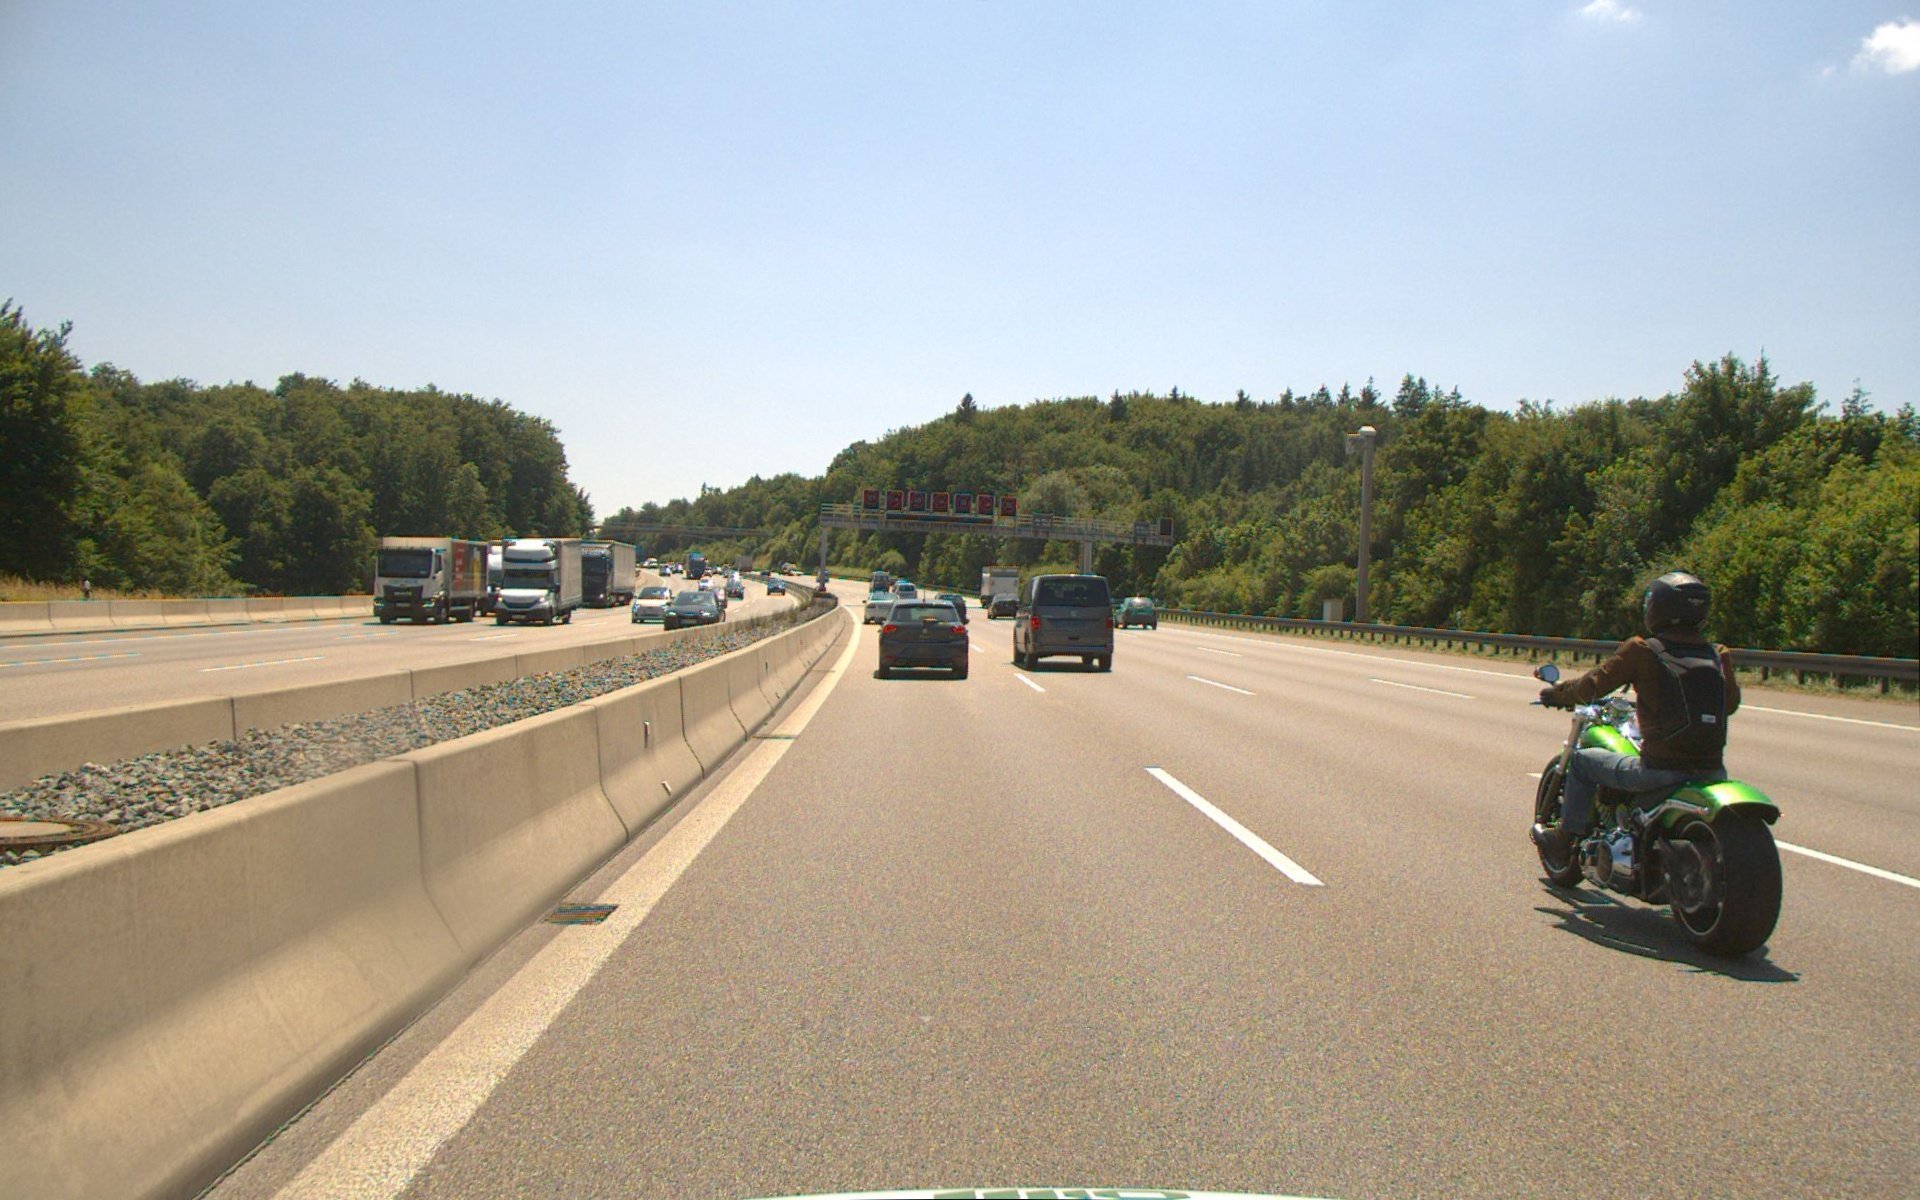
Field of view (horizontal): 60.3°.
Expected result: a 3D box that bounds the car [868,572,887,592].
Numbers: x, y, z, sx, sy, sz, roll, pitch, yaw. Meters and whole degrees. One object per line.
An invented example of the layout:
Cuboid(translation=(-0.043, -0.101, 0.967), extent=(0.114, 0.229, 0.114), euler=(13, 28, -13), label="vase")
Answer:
Cuboid(translation=(-10.166, -2.191, 204.403), extent=(2.219, 2.412, 4.700), euler=(1, 0, -2), label="car")

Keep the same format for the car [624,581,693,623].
Cuboid(translation=(-13.198, 0.097, 72.724), extent=(2.241, 1.758, 5.029), euler=(1, 0, -2), label="car")

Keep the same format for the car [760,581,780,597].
Cuboid(translation=(-20.308, -1.195, 177.145), extent=(1.954, 1.697, 4.430), euler=(1, 0, -5), label="car")

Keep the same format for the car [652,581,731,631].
Cuboid(translation=(-9.091, 0.185, 56.415), extent=(1.953, 1.618, 4.843), euler=(1, 0, -1), label="car")

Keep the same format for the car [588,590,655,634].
Cuboid(translation=(-14.051, 0.499, 68.827), extent=(1.953, 1.758, 4.000), euler=(1, 0, 0), label="car")

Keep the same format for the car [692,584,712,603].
Cuboid(translation=(-29.006, -0.702, 186.094), extent=(1.955, 2.049, 3.995), euler=(2, -1, -6), label="car")

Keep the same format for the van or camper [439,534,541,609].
Cuboid(translation=(-22.251, -1.261, 78.756), extent=(2.709, 3.180, 8.090), euler=(2, -1, -2), label="van or camper")

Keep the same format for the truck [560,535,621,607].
Cuboid(translation=(-23.206, -1.789, 104.271), extent=(2.820, 4.365, 6.447), euler=(1, 0, -5), label="truck")

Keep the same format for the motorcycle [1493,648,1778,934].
Cuboid(translation=(3.350, 0.871, 8.457), extent=(0.524, 1.155, 2.437), euler=(1, 0, 2), label="motorcycle")

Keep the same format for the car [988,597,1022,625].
Cuboid(translation=(2.544, 0.614, 94.551), extent=(1.632, 1.433, 4.902), euler=(1, 1, -2), label="car")

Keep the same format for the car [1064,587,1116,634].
Cuboid(translation=(4.976, 0.406, 63.668), extent=(1.811, 1.758, 4.001), euler=(1, 0, 2), label="car")

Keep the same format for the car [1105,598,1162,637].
Cuboid(translation=(8.052, 0.807, 77.084), extent=(1.954, 1.758, 3.996), euler=(1, -1, -4), label="car")

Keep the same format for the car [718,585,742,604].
Cuboid(translation=(-20.481, -0.445, 147.387), extent=(1.726, 1.547, 4.358), euler=(2, -1, -4), label="car")

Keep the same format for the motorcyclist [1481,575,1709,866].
Cuboid(translation=(3.343, 0.599, 8.804), extent=(0.835, 1.452, 1.023), euler=(1, 0, 2), label="motorcyclist")

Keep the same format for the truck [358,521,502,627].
Cuboid(translation=(-20.666, -0.861, 65.099), extent=(2.811, 3.762, 9.236), euler=(2, -1, -2), label="truck")

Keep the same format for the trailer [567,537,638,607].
Cuboid(translation=(-23.730, -1.766, 110.575), extent=(2.808, 4.337, 13.946), euler=(1, 0, -5), label="trailer")

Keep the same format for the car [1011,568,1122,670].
Cuboid(translation=(2.276, 0.386, 36.646), extent=(1.923, 2.069, 5.081), euler=(1, 0, -2), label="car")

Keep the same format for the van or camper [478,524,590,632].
Cuboid(translation=(-16.699, -0.743, 65.383), extent=(2.774, 3.906, 8.206), euler=(2, -1, -5), label="van or camper")

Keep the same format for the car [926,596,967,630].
Cuboid(translation=(-0.767, 0.717, 89.272), extent=(1.954, 1.758, 4.145), euler=(1, 0, -4), label="car")

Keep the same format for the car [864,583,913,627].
Cuboid(translation=(-3.312, 0.250, 77.486), extent=(1.970, 1.878, 4.000), euler=(1, -2, 2), label="car")

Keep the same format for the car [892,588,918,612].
Cuboid(translation=(-4.497, -0.030, 135.077), extent=(2.061, 1.774, 4.686), euler=(1, 1, -3), label="car")

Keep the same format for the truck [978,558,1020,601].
Cuboid(translation=(3.082, -1.681, 132.158), extent=(2.925, 3.222, 7.572), euler=(1, 1, -2), label="truck")

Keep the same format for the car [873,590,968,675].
Cuboid(translation=(-0.772, 0.573, 31.817), extent=(1.673, 1.458, 3.999), euler=(2, 1, -2), label="car")

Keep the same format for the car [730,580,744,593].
Cuboid(translation=(-30.849, -1.864, 229.080), extent=(1.720, 1.663, 4.633), euler=(1, 1, -6), label="car")
